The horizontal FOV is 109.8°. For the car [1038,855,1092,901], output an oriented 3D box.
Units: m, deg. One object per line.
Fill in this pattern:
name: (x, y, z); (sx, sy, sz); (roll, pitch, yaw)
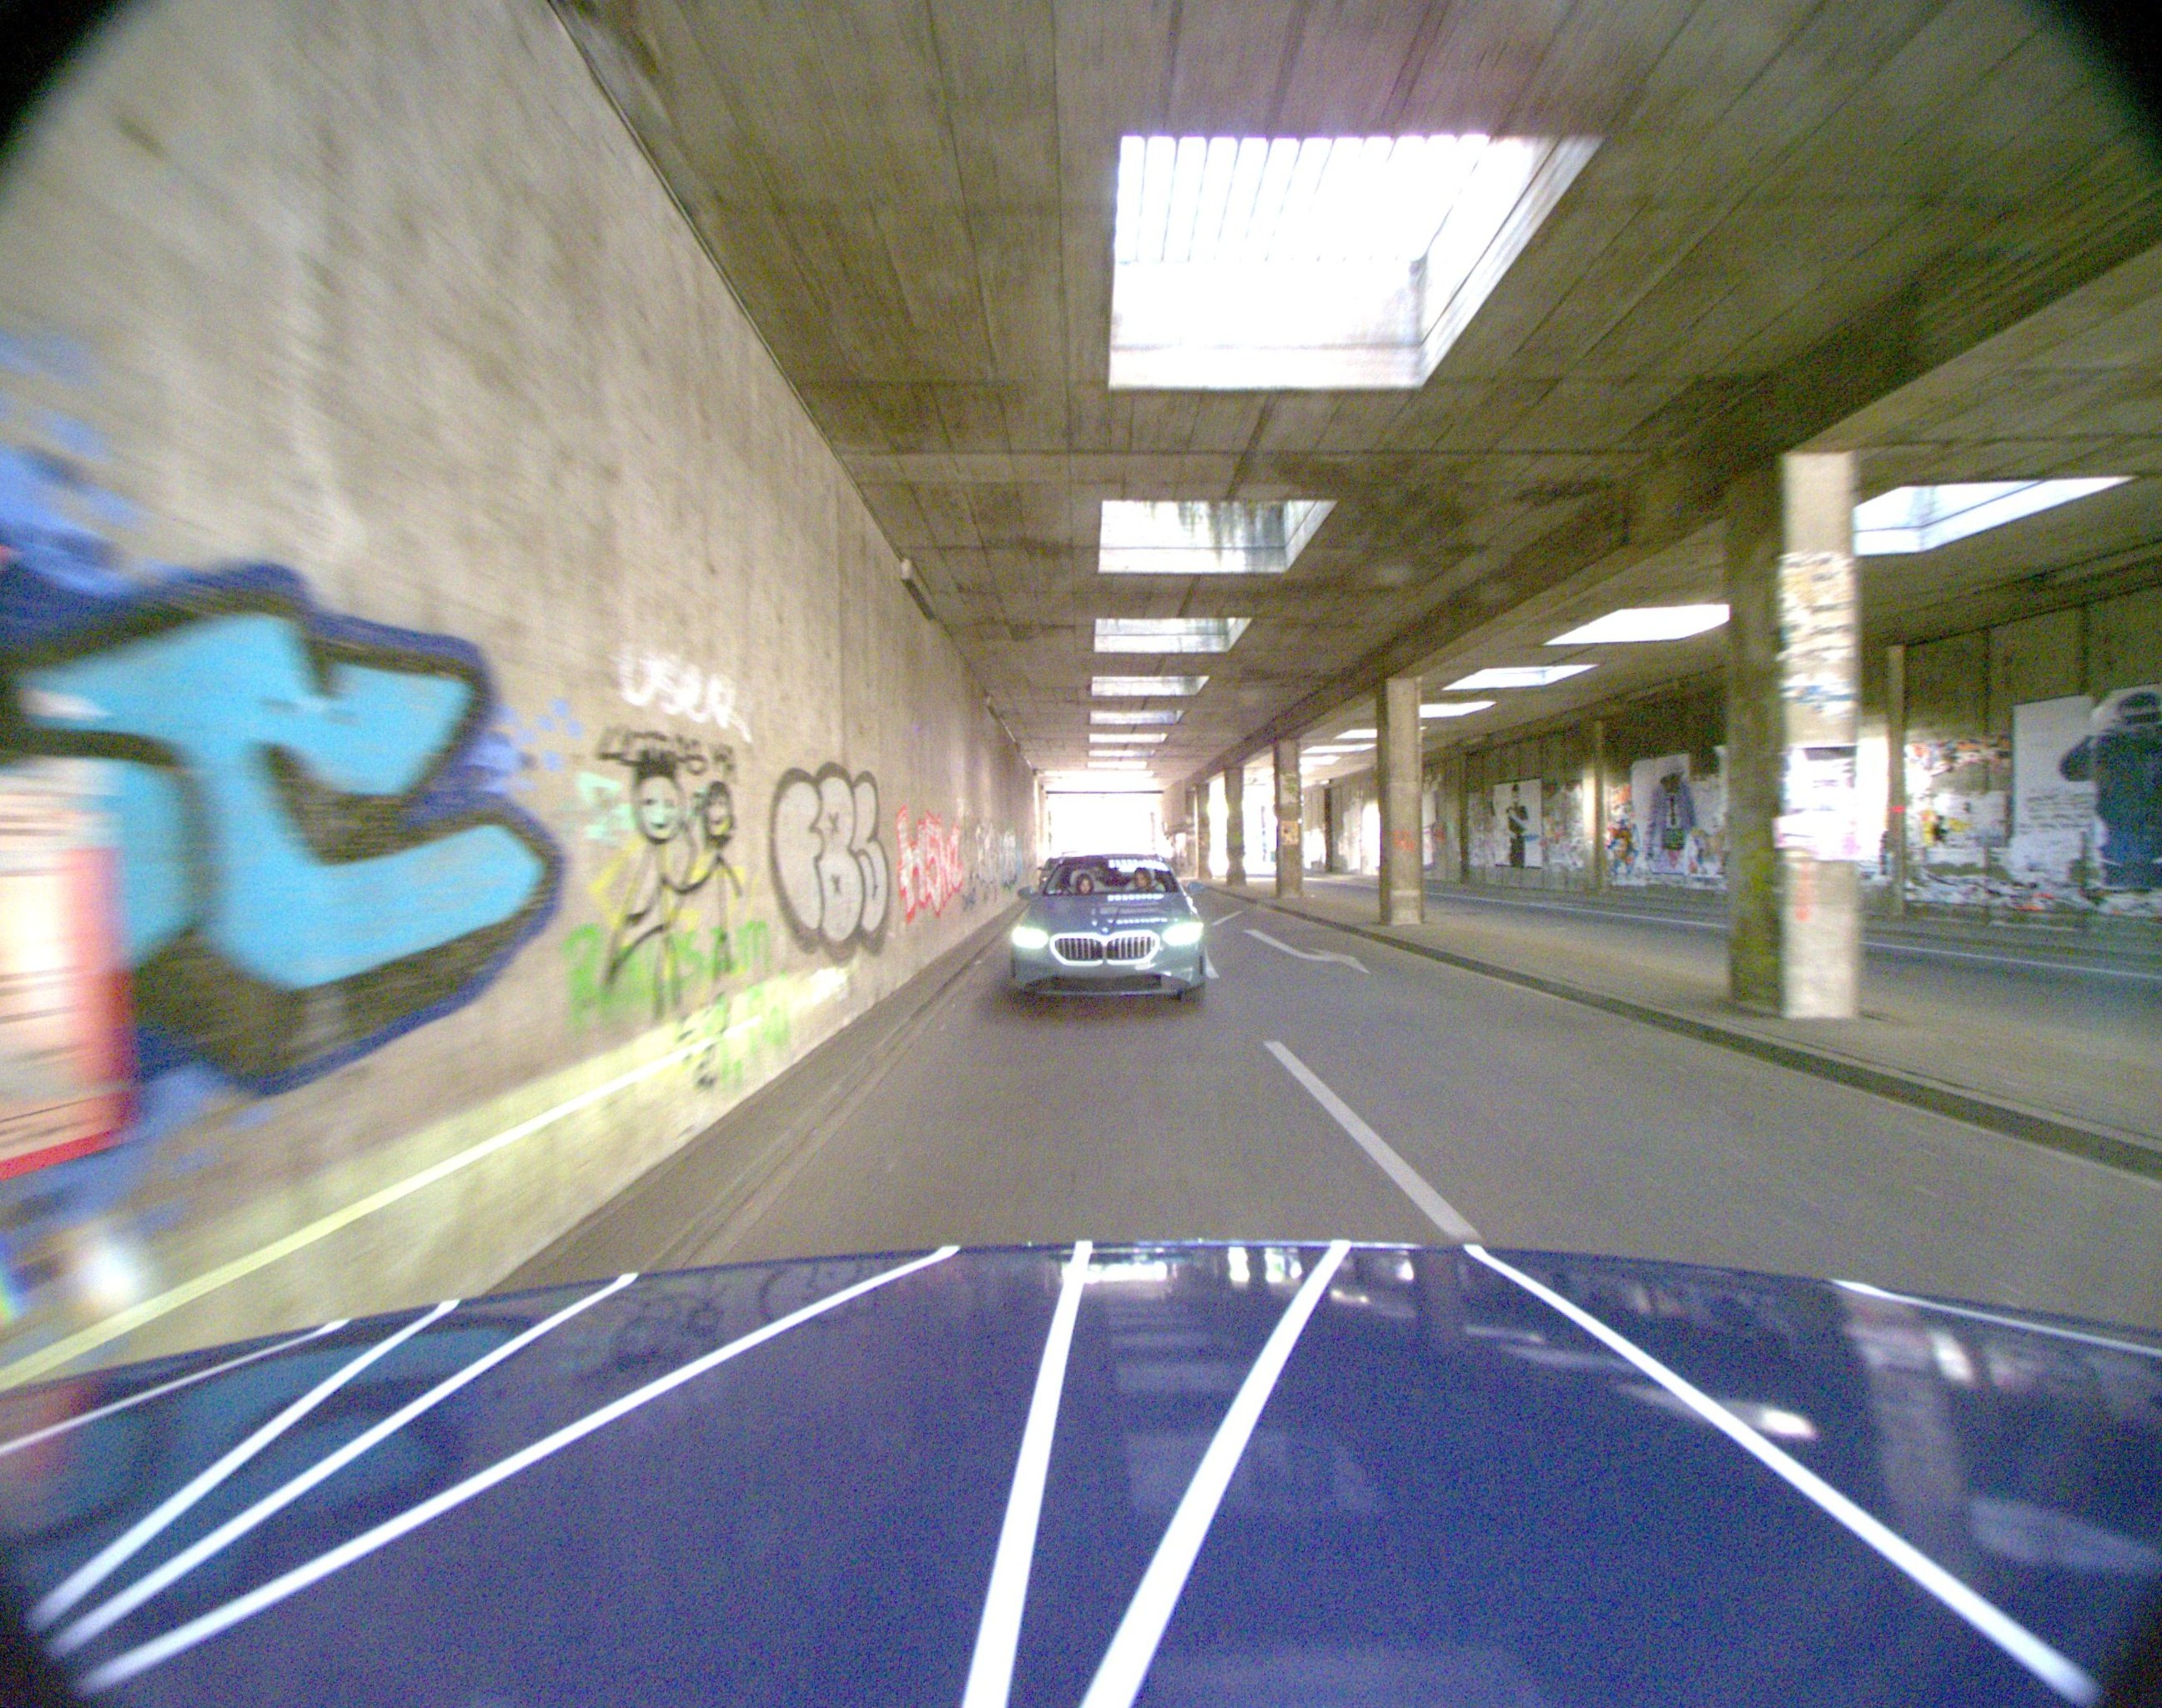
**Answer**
car: (-0.483, 0.760, 25.808); (1.616, 1.367, 4.199); (-1, 1, 1)

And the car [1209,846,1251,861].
car: (15.843, -0.083, 80.864); (3.998, 1.386, 1.833); (-2, 1, -3)

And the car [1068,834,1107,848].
car: (0.663, -1.375, 81.230); (3.998, 1.386, 1.833); (-2, 1, -3)

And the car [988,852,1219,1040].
car: (0.257, 0.796, 9.072); (1.957, 1.547, 5.040); (-1, 1, 1)

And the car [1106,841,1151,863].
car: (4.155, -0.188, 66.855); (3.614, 1.674, 1.851); (-2, 1, -6)

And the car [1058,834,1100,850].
car: (-0.243, -1.189, 74.950); (3.998, 1.386, 1.833); (-2, 1, -3)

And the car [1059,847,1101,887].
car: (0.015, 0.490, 31.977); (1.616, 1.546, 4.013); (-1, 1, 1)

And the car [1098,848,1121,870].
car: (2.116, 0.362, 57.206); (1.616, 1.546, 4.013); (-1, 1, 1)
